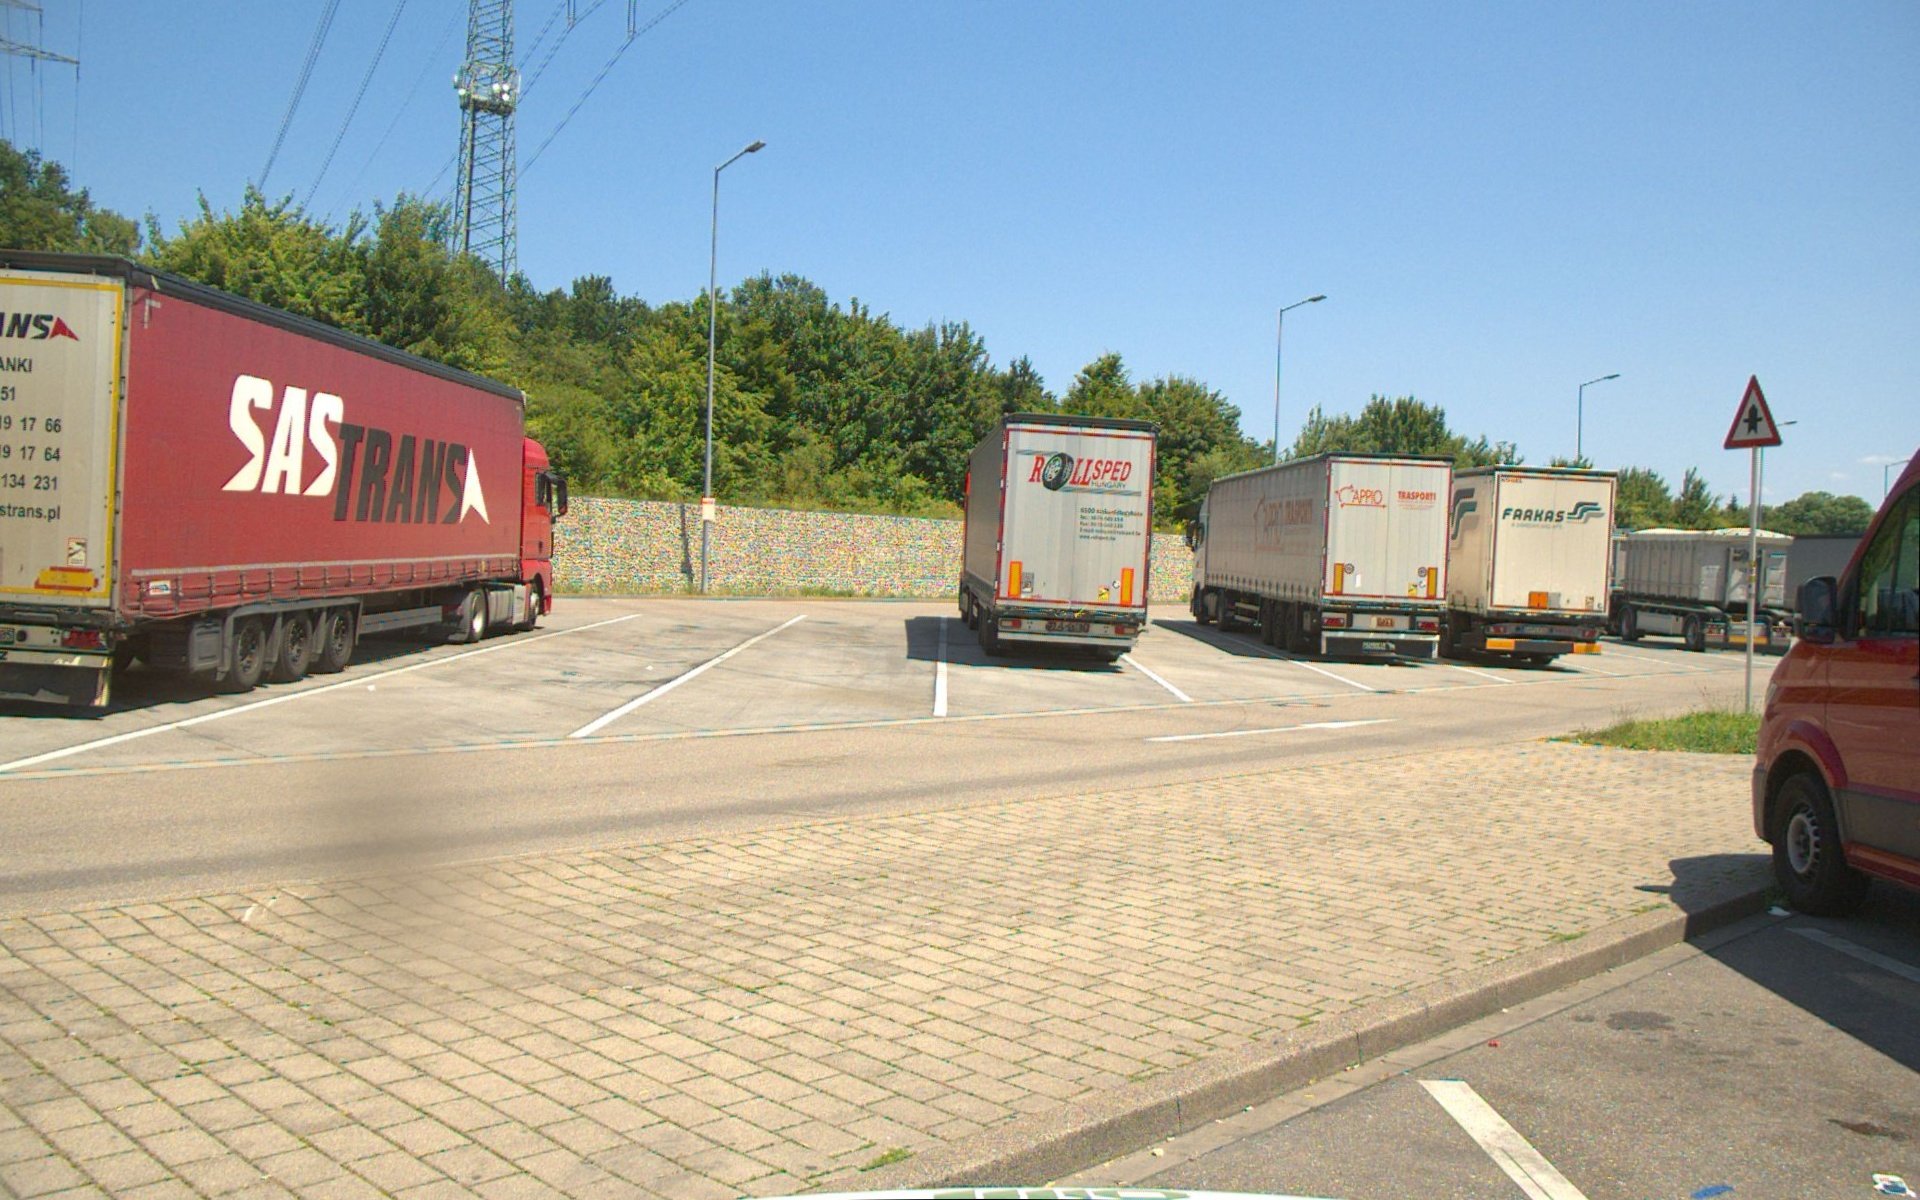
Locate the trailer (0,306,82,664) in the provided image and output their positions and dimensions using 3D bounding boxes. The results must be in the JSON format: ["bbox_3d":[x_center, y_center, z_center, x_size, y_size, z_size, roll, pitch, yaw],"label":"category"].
[{"bbox_3d":[-12.484,-1.260,15.802,2.651,4.173,10.389,2,2,-1],"label":"trailer"}]

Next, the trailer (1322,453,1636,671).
[{"bbox_3d":[11.764,-0.989,39.582,2.800,4.180,13.762,2,2,-1],"label":"trailer"}]

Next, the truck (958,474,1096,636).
[{"bbox_3d":[1.470,-1.091,39.358,2.808,3.421,5.974,2,2,-1],"label":"truck"}]

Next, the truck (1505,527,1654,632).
[{"bbox_3d":[21.726,-0.791,58.360,2.808,3.421,5.974,2,2,-1],"label":"truck"}]

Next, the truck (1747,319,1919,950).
[{"bbox_3d":[5.000,0.156,5.531,1.969,2.697,6.457,1,0,3],"label":"truck"}]

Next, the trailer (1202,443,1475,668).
[{"bbox_3d":[8.245,-1.100,38.517,2.800,4.180,13.762,2,2,-1],"label":"trailer"}]

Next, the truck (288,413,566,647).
[{"bbox_3d":[-8.801,-1.163,28.076,2.755,3.421,5.974,2,2,-1],"label":"truck"}]

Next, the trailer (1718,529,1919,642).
[{"bbox_3d":[34.774,-0.704,65.469,2.800,3.972,13.762,2,2,-1],"label":"trailer"}]

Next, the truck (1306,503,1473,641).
[{"bbox_3d":[11.651,-0.821,45.408,2.808,3.421,5.974,2,2,-1],"label":"truck"}]

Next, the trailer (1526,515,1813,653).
[{"bbox_3d":[21.826,-0.678,52.265,2.800,3.662,13.762,2,2,-1],"label":"trailer"}]

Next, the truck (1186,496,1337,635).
[{"bbox_3d":[8.120,-0.983,45.279,2.808,3.421,5.974,2,2,-1],"label":"truck"}]

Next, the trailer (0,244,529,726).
[{"bbox_3d":[-8.689,-1.271,21.260,2.764,4.141,13.763,2,2,-1],"label":"trailer"}]

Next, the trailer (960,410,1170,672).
[{"bbox_3d":[1.673,-1.175,33.161,2.800,4.040,13.761,2,2,-2],"label":"trailer"}]
